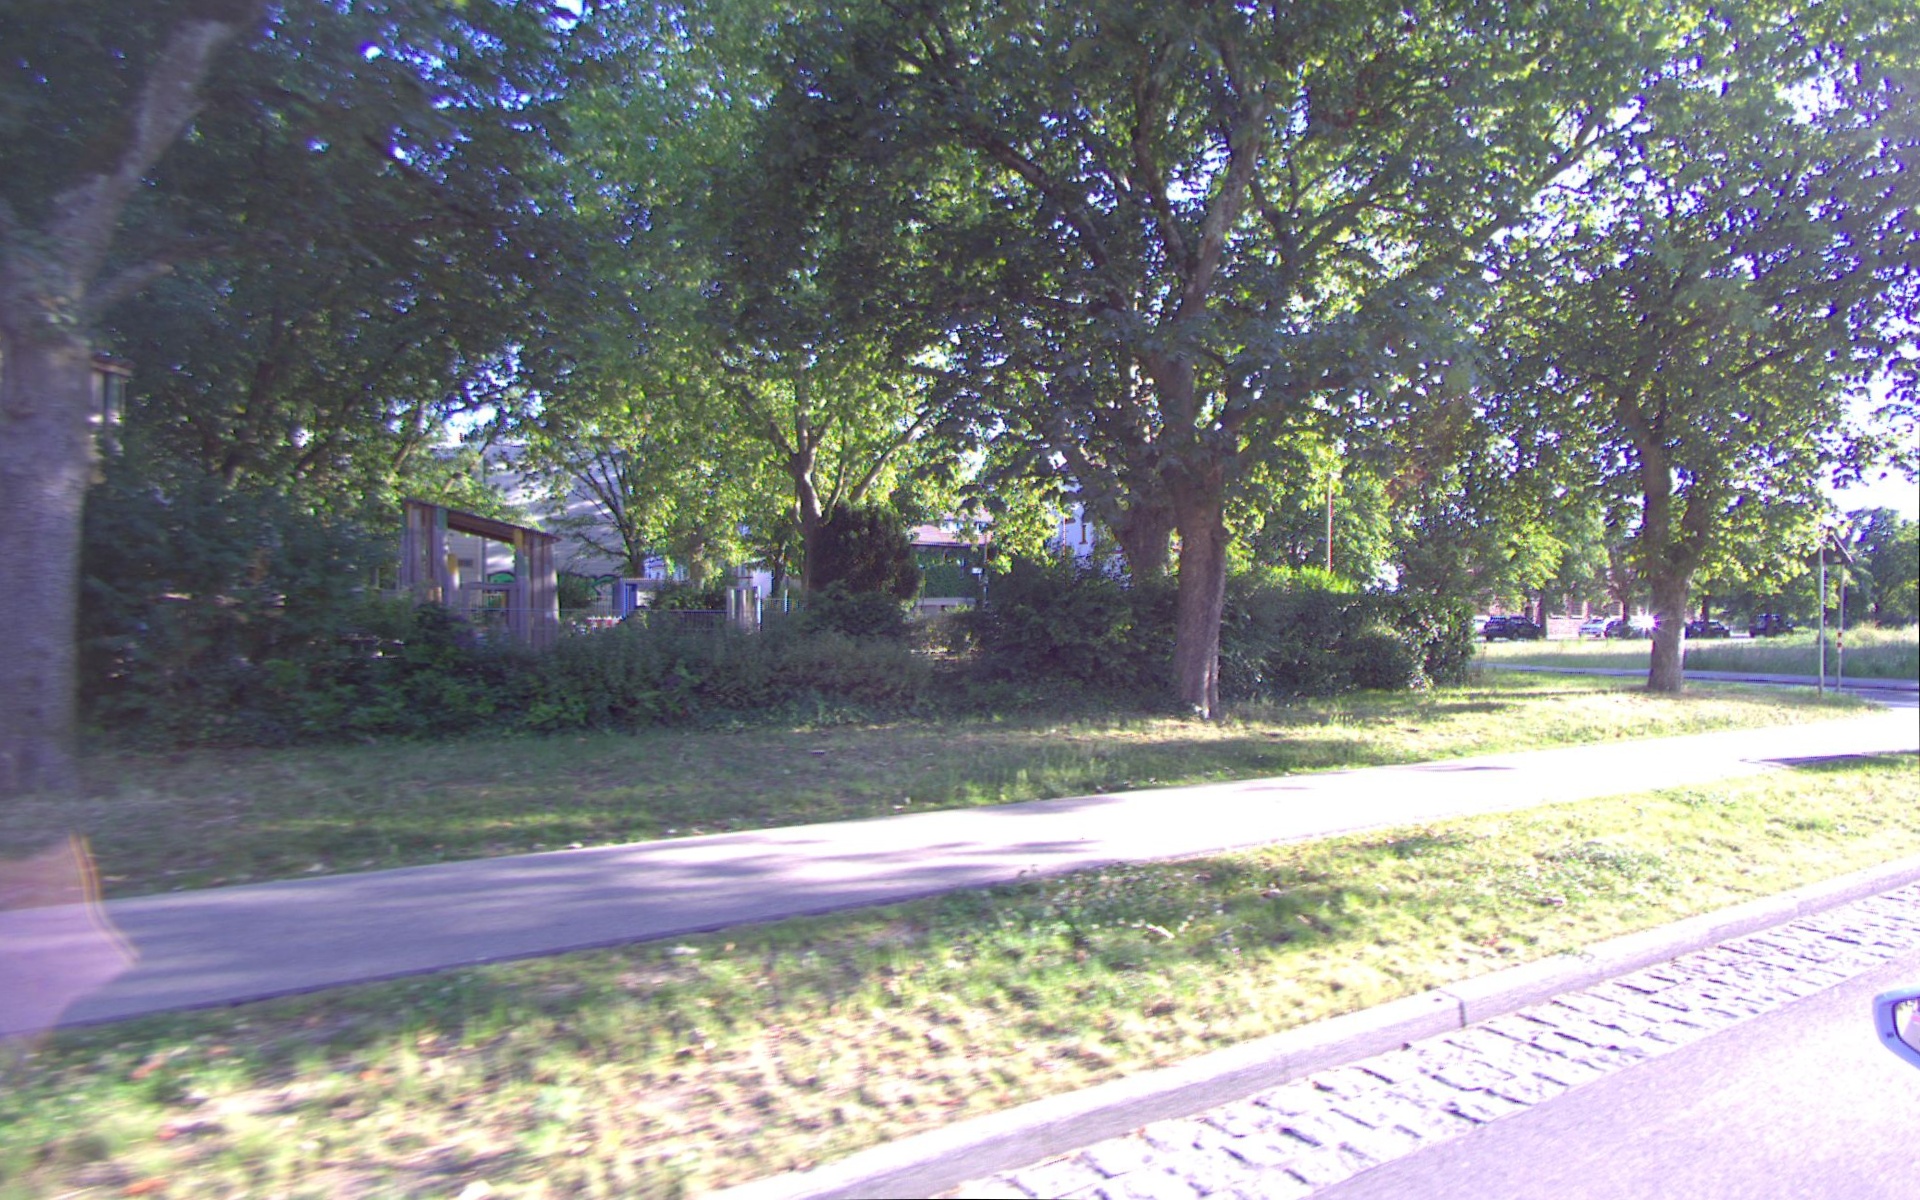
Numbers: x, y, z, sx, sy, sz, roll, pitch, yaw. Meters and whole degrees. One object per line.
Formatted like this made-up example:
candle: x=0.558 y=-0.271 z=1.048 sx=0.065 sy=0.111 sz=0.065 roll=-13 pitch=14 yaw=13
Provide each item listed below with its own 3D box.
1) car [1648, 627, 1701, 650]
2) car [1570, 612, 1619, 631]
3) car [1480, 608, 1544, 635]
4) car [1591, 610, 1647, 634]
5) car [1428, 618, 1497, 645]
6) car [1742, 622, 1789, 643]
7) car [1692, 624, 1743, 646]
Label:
car: x=52.279 y=2.773 z=73.458 sx=4.173 sy=1.619 sz=1.684 roll=1 pitch=0 yaw=-31
car: x=49.614 y=1.641 z=78.549 sx=3.953 sy=1.424 sz=1.621 roll=1 pitch=0 yaw=-31
car: x=34.765 y=1.361 z=63.263 sx=4.173 sy=1.619 sz=1.684 roll=1 pitch=0 yaw=-31
car: x=46.731 y=1.566 z=71.178 sx=4.173 sy=1.619 sz=1.684 roll=1 pitch=0 yaw=-31
car: x=29.338 y=1.793 z=58.573 sx=4.175 sy=1.496 sz=1.683 roll=1 pitch=0 yaw=-32
car: x=65.821 y=2.631 z=82.061 sx=4.173 sy=1.619 sz=1.684 roll=1 pitch=0 yaw=-31
car: x=57.584 y=2.654 z=76.361 sx=4.173 sy=1.619 sz=1.684 roll=1 pitch=0 yaw=-31
